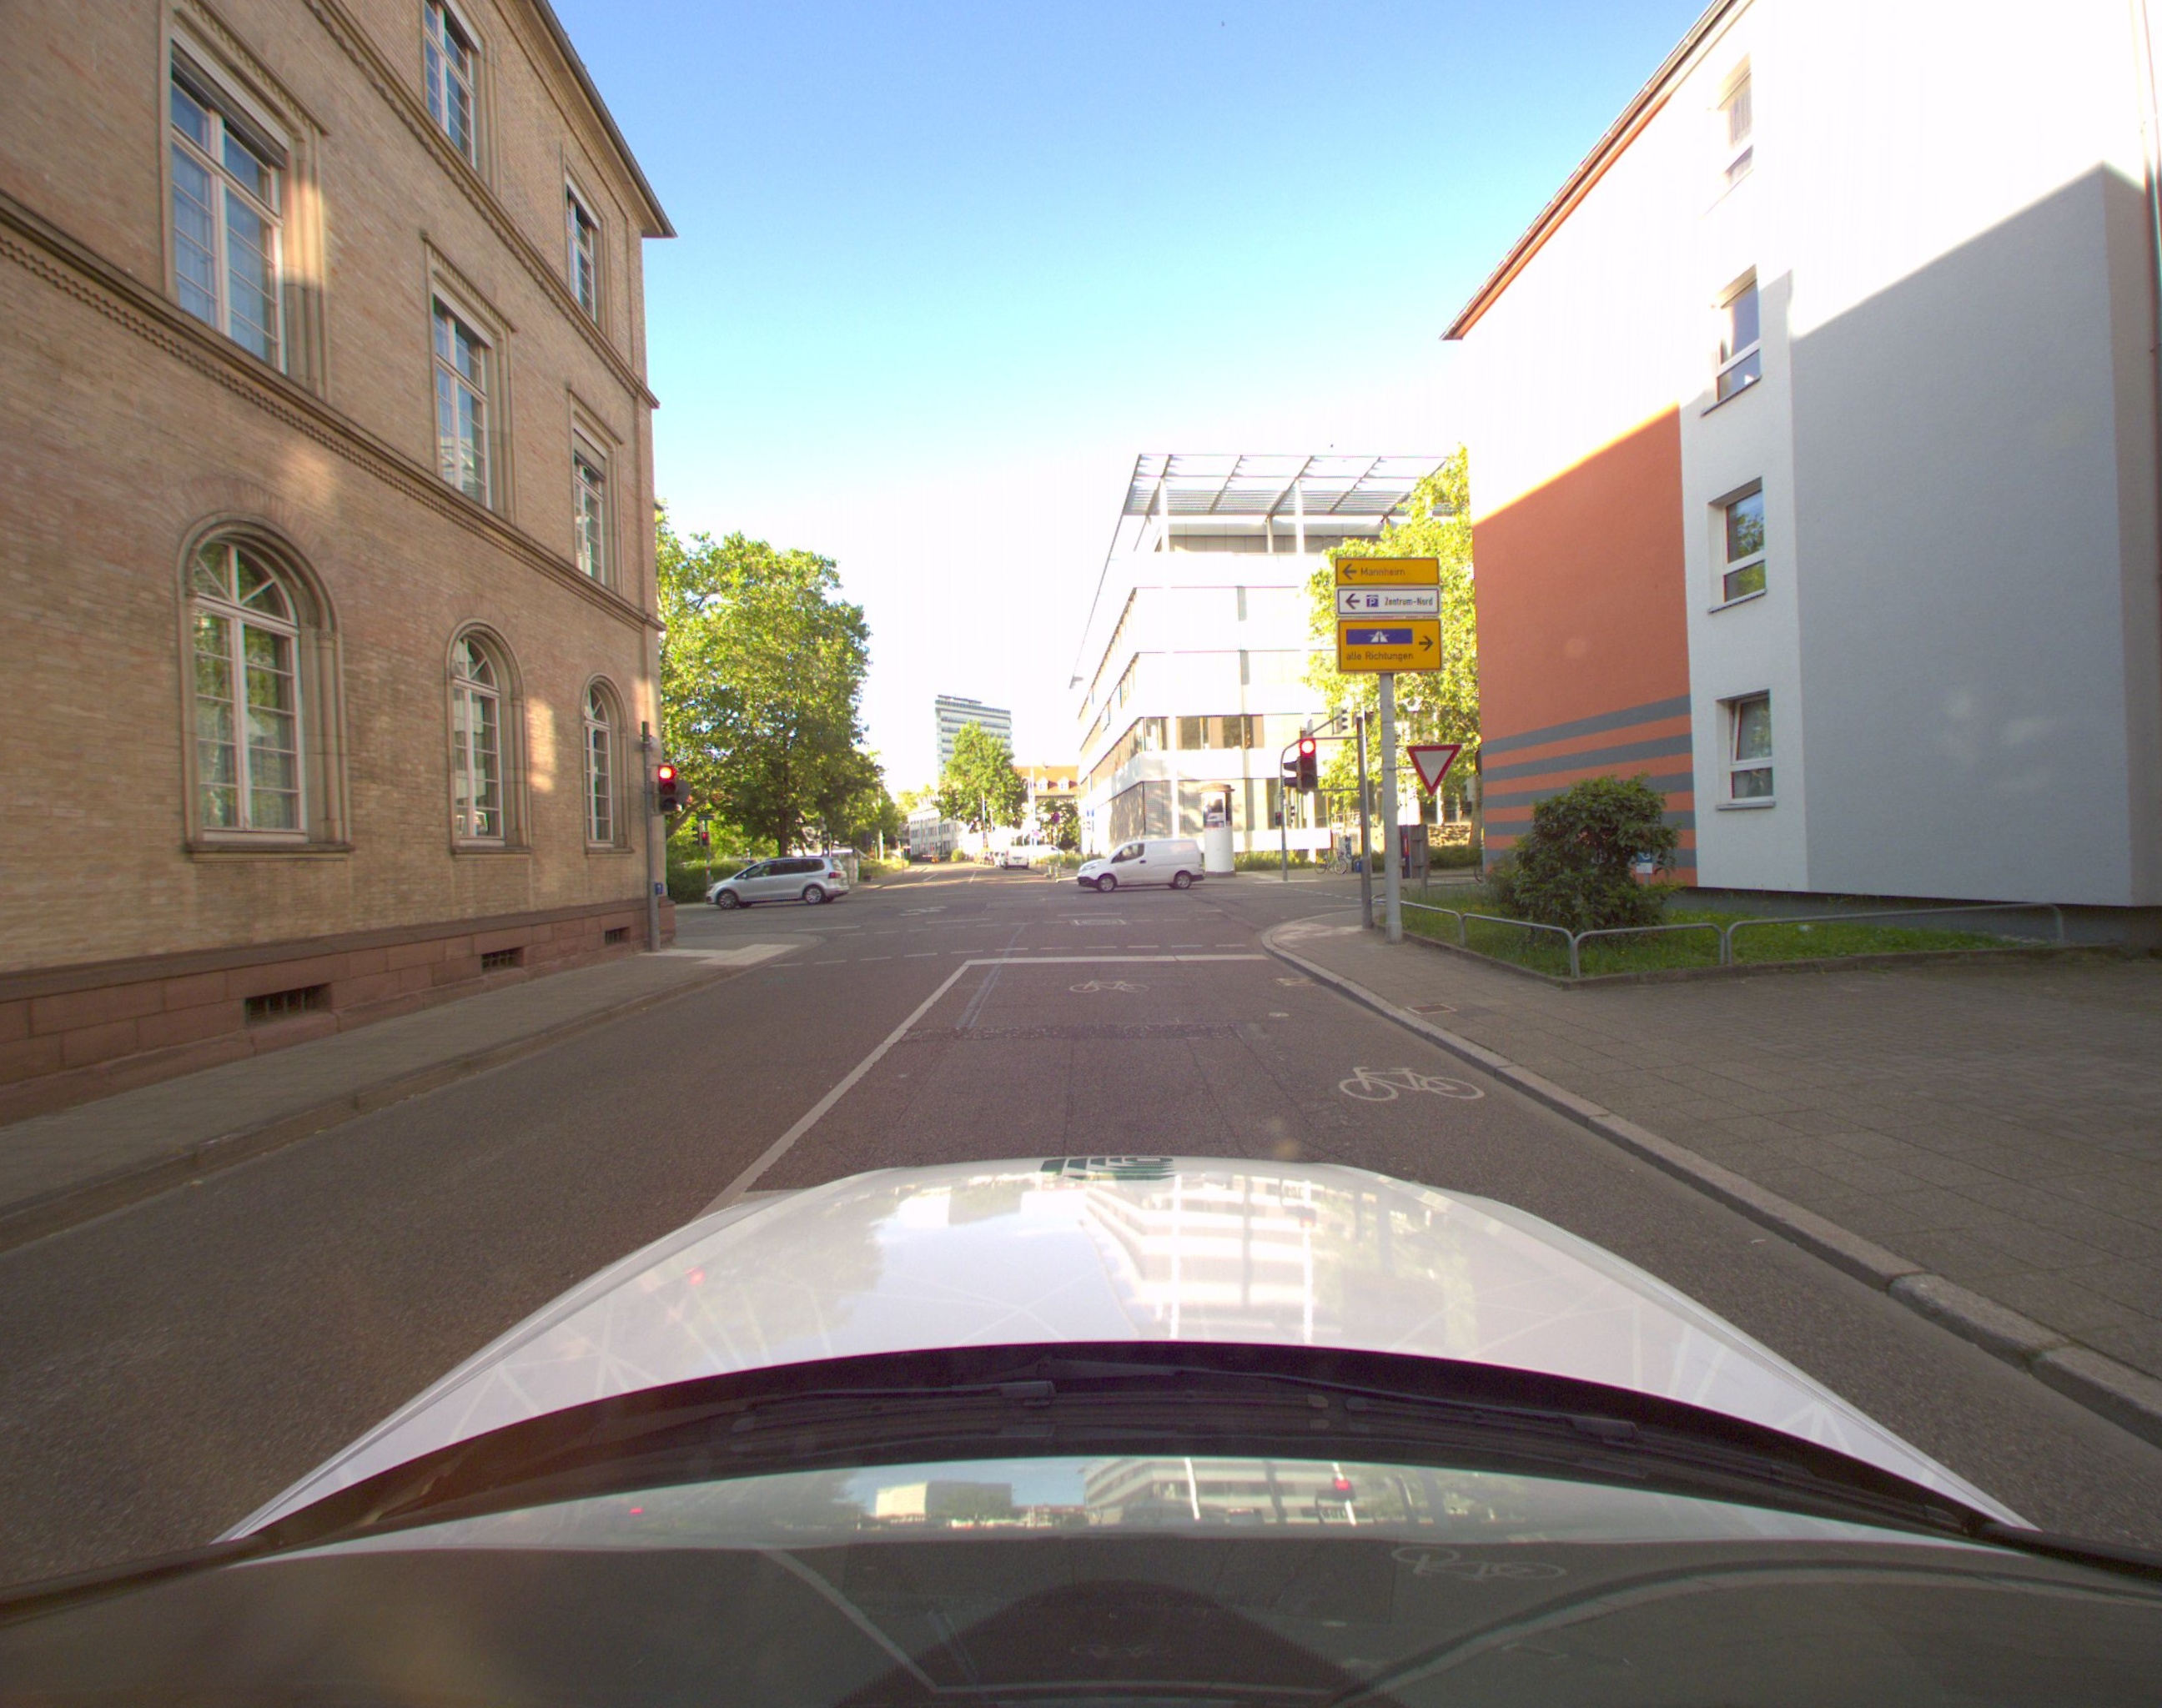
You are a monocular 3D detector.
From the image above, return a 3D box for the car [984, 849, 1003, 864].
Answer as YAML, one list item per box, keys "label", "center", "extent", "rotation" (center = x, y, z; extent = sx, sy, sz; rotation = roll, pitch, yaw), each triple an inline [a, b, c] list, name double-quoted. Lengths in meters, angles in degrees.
- label: "car"
  center: [-9.279, 0.269, 86.354]
  extent: [1.704, 1.464, 4.225]
  rotation: [-2, 0, -9]

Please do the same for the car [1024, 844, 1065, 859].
- label: "car"
  center: [-4.626, -0.301, 103.279]
  extent: [4.889, 1.872, 1.990]
  rotation: [-1, -1, -15]

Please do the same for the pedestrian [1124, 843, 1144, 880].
- label: "pedestrian"
  center: [2.372, 0.318, 36.251]
  extent: [0.706, 1.599, 0.620]
  rotation: [-2, 0, 19]

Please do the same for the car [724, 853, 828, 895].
- label: "car"
  center: [-14.434, 0.910, 38.746]
  extent: [4.219, 1.777, 1.901]
  rotation: [-2, 0, -7]

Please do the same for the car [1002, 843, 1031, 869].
- label: "car"
  center: [-5.189, 0.163, 65.050]
  extent: [2.065, 1.963, 4.228]
  rotation: [-2, 0, -7]

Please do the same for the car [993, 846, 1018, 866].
- label: "car"
  center: [-7.153, 0.193, 76.925]
  extent: [1.947, 1.795, 4.223]
  rotation: [-2, 0, -11]

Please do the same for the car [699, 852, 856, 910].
- label: "car"
  center: [-10.551, 0.912, 28.611]
  extent: [4.750, 1.707, 1.797]
  rotation: [-3, 0, -4]

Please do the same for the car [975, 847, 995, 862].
- label: "car"
  center: [-11.403, 0.036, 96.233]
  extent: [2.100, 1.657, 4.461]
  rotation: [-2, 0, -9]

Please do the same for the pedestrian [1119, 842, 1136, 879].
- label: "pedestrian"
  center: [2.255, 0.298, 39.437]
  extent: [0.648, 1.736, 0.815]
  rotation: [-2, 0, 13]

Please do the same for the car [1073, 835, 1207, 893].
- label: "car"
  center: [2.082, 0.334, 29.414]
  extent: [4.533, 1.799, 1.634]
  rotation: [-3, 0, -5]

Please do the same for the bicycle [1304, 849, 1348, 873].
- label: "bicycle"
  center: [10.872, 0.319, 36.128]
  extent: [0.467, 1.049, 1.893]
  rotation: [-2, 0, -40]
